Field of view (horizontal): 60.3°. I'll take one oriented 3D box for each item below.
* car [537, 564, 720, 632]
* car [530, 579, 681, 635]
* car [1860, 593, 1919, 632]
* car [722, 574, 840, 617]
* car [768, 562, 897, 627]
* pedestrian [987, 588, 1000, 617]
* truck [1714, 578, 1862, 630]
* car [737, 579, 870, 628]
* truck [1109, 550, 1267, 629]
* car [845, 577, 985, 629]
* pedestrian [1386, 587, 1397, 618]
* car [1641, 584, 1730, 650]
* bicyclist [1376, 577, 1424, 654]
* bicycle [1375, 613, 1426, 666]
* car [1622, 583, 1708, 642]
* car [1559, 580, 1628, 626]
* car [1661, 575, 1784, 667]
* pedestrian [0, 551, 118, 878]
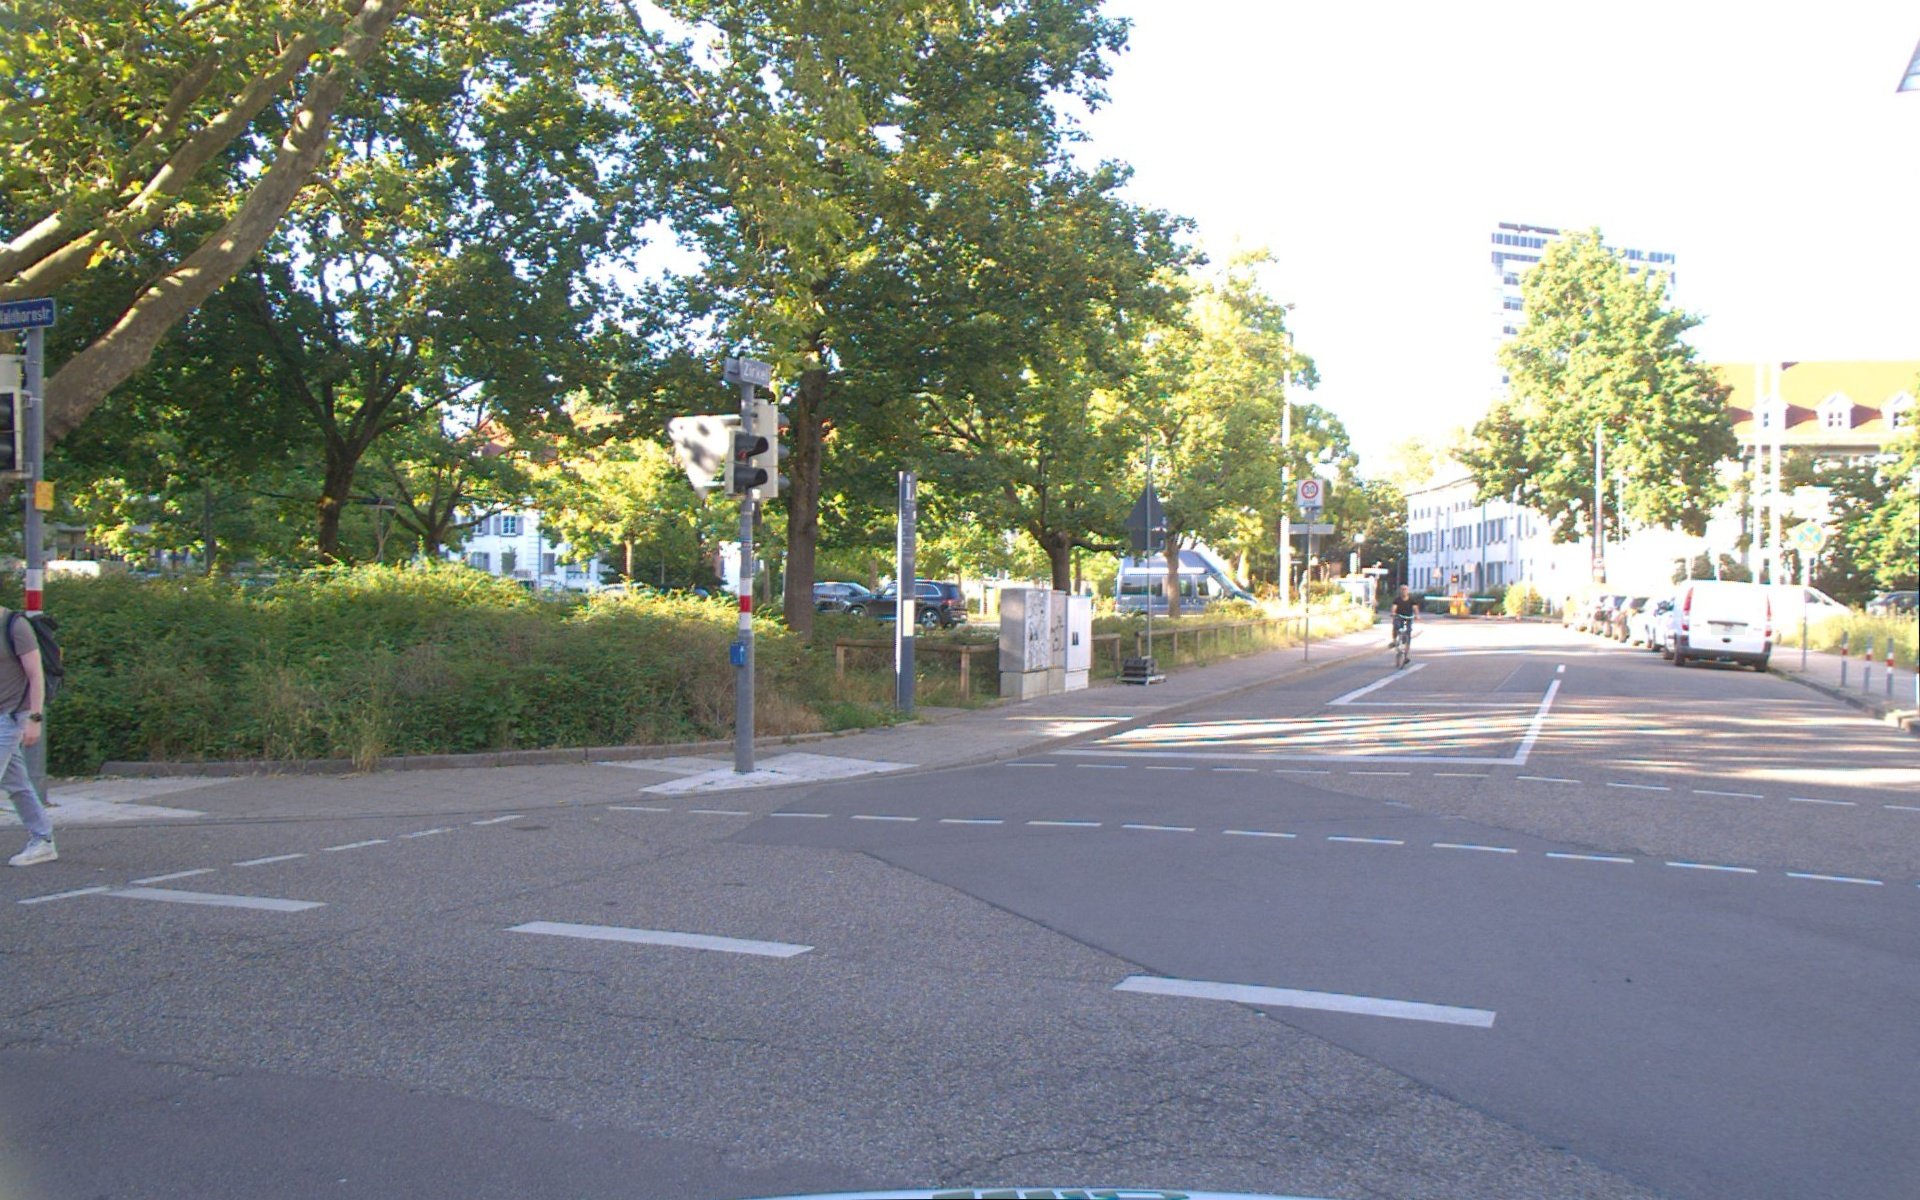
[{"bbox_3d":[-8.934,-0.053,44.636,4.461,1.760,2.074,0,0,22],"label":"car"},{"bbox_3d":[-11.623,0.235,54.330,4.461,1.760,2.074,0,0,22],"label":"car"},{"bbox_3d":[39.558,0.515,68.707,3.479,1.573,1.560,1,0,11],"label":"car"},{"bbox_3d":[-7.440,-0.164,68.732,4.461,1.760,2.074,0,0,22],"label":"car"},{"bbox_3d":[-4.889,-0.184,63.475,4.461,2.433,2.074,0,0,22],"label":"car"},{"bbox_3d":[1.563,0.130,76.900,0.546,1.347,0.578,0,0,4],"label":"pedestrian"},{"bbox_3d":[34.910,0.140,69.880,5.224,2.049,2.002,1,0,11],"label":"truck"},{"bbox_3d":[-5.778,0.141,61.233,4.461,1.760,2.074,0,0,22],"label":"car"},{"bbox_3d":[7.455,-0.365,53.949,4.729,2.441,2.088,2,1,21],"label":"truck"},{"bbox_3d":[-1.579,0.121,57.834,4.461,1.760,2.074,0,0,22],"label":"car"},{"bbox_3d":[23.543,0.149,90.271,0.534,1.706,0.476,0,0,13],"label":"pedestrian"},{"bbox_3d":[19.391,0.401,44.343,1.849,1.582,4.416,2,2,20],"label":"car"},{"bbox_3d":[9.147,0.321,34.377,0.847,1.542,1.019,-2,-1,19],"label":"bicyclist"},{"bbox_3d":[9.217,0.809,34.568,0.847,1.027,2.415,-2,-1,19],"label":"bicycle"},{"bbox_3d":[21.065,0.334,49.582,1.848,1.582,4.418,1,2,17],"label":"car"},{"bbox_3d":[25.557,0.093,66.854,1.848,1.684,4.419,1,2,11],"label":"car"},{"bbox_3d":[16.766,0.395,36.568,2.042,1.826,4.416,2,2,20],"label":"car"},{"bbox_3d":[-5.369,0.617,9.252,0.689,1.753,0.954,0,-1,26],"label":"pedestrian"}]
